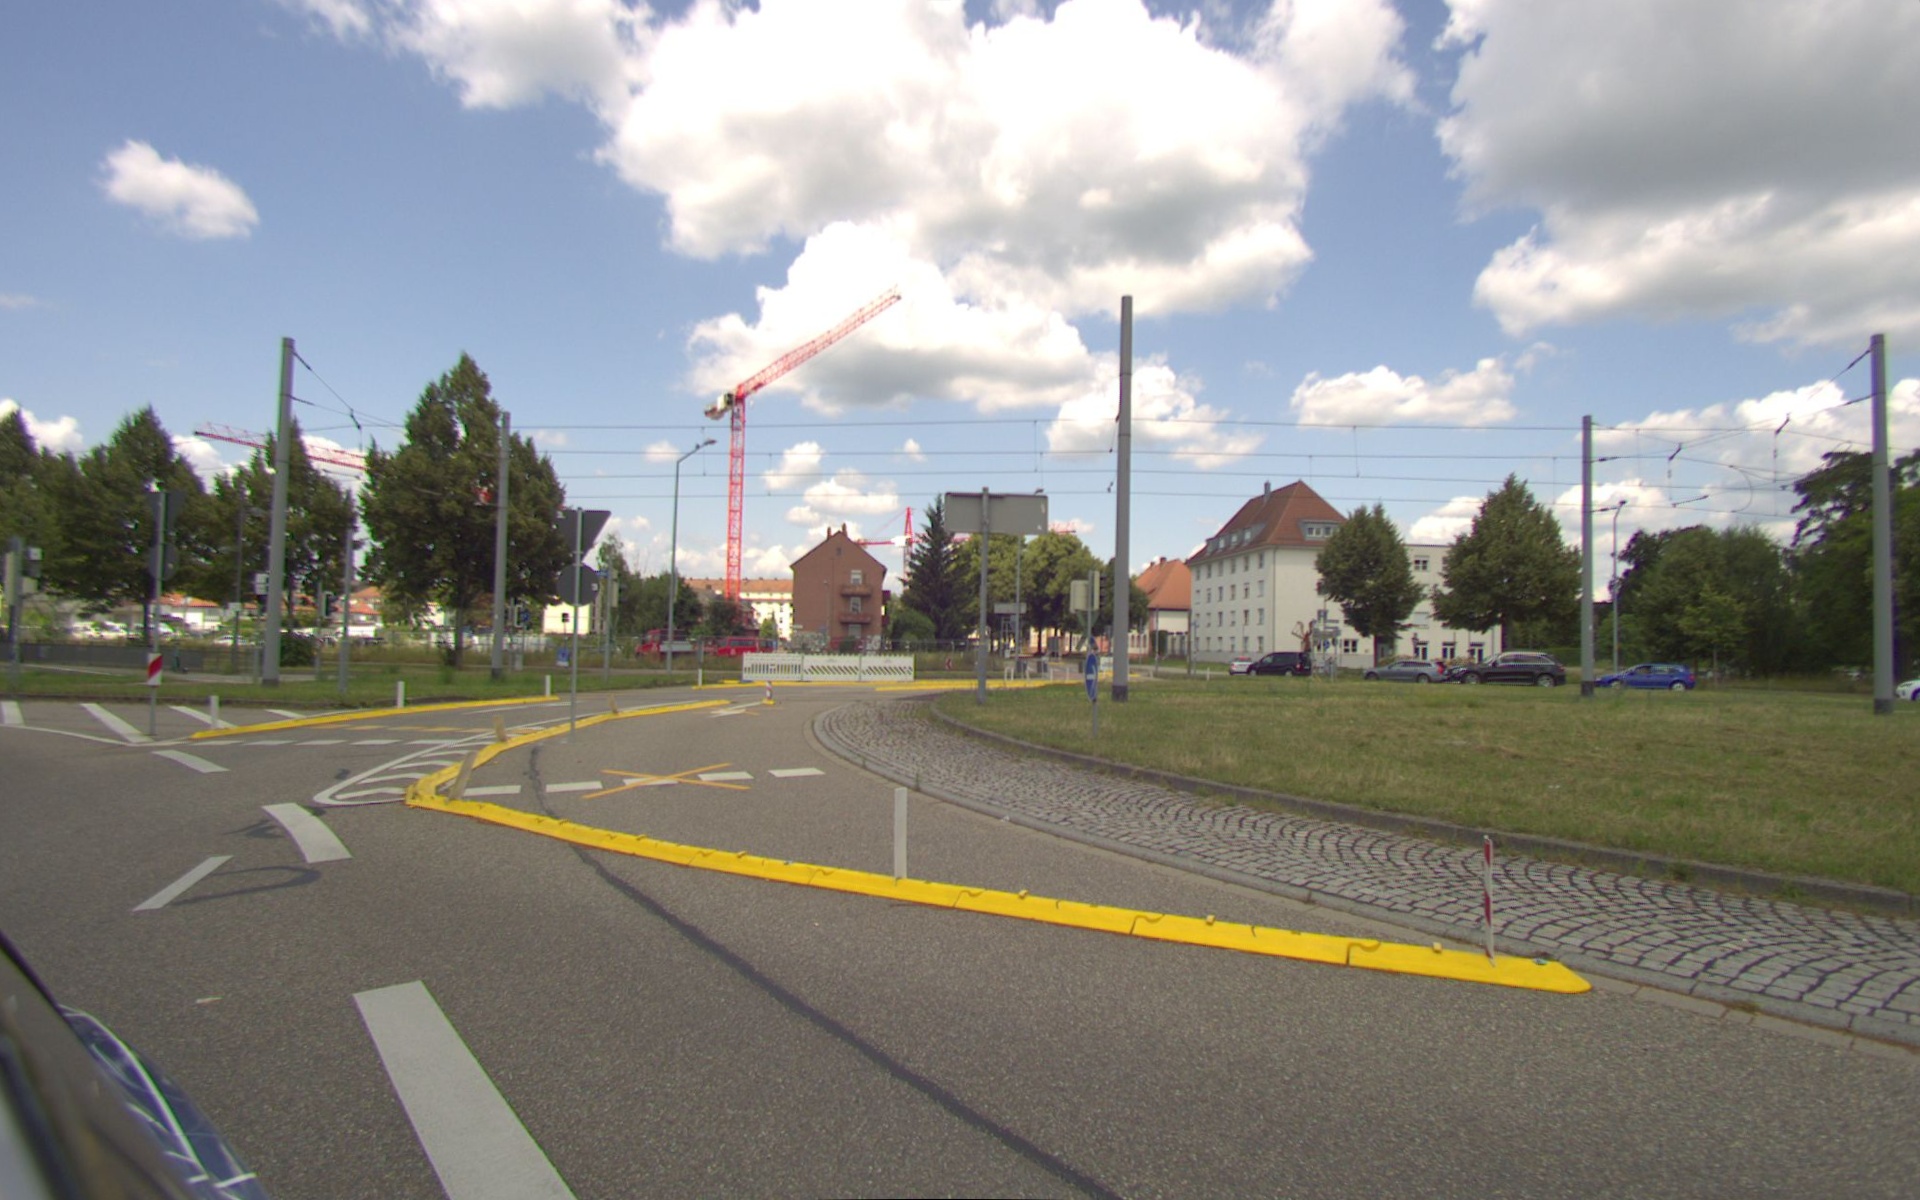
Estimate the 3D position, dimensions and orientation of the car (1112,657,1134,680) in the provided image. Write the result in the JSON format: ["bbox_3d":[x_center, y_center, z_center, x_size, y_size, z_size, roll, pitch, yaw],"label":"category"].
[{"bbox_3d":[15.188,6.366,94.538,1.978,2.029,4.711,0,-3,9],"label":"car"}]

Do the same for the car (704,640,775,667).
[{"bbox_3d":[-16.121,3.914,73.872,5.170,1.866,2.064,-1,-3,34],"label":"car"}]

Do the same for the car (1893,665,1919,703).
[{"bbox_3d":[36.521,3.058,36.231,1.968,1.340,4.319,3,-3,-39],"label":"car"}]

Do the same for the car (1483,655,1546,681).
[{"bbox_3d":[43.931,5.396,80.229,3.934,2.029,2.004,1,-3,-11],"label":"car"}]

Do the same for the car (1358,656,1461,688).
[{"bbox_3d":[25.449,4.033,57.426,2.035,1.639,4.948,1,-2,-43],"label":"car"}]

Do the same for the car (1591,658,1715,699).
[{"bbox_3d":[33.340,3.749,48.883,4.703,1.805,1.831,-1,-3,28],"label":"car"}]

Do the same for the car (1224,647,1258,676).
[{"bbox_3d":[20.098,4.391,72.580,1.979,2.029,4.709,0,-3,11],"label":"car"}]

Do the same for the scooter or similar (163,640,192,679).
[{"bbox_3d":[-28.783,2.180,37.211,1.343,1.312,0.414,2,-2,35],"label":"scooter or similar"}]

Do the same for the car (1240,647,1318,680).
[{"bbox_3d":[20.577,4.069,65.453,1.966,2.029,4.739,2,-3,-31],"label":"car"}]

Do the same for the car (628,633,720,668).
[{"bbox_3d":[-19.251,3.339,67.855,6.829,2.214,2.364,-1,-3,38],"label":"car"}]

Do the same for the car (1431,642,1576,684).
[{"bbox_3d":[22.940,2.642,42.951,5.024,1.687,1.990,0,-3,16],"label":"car"}]
